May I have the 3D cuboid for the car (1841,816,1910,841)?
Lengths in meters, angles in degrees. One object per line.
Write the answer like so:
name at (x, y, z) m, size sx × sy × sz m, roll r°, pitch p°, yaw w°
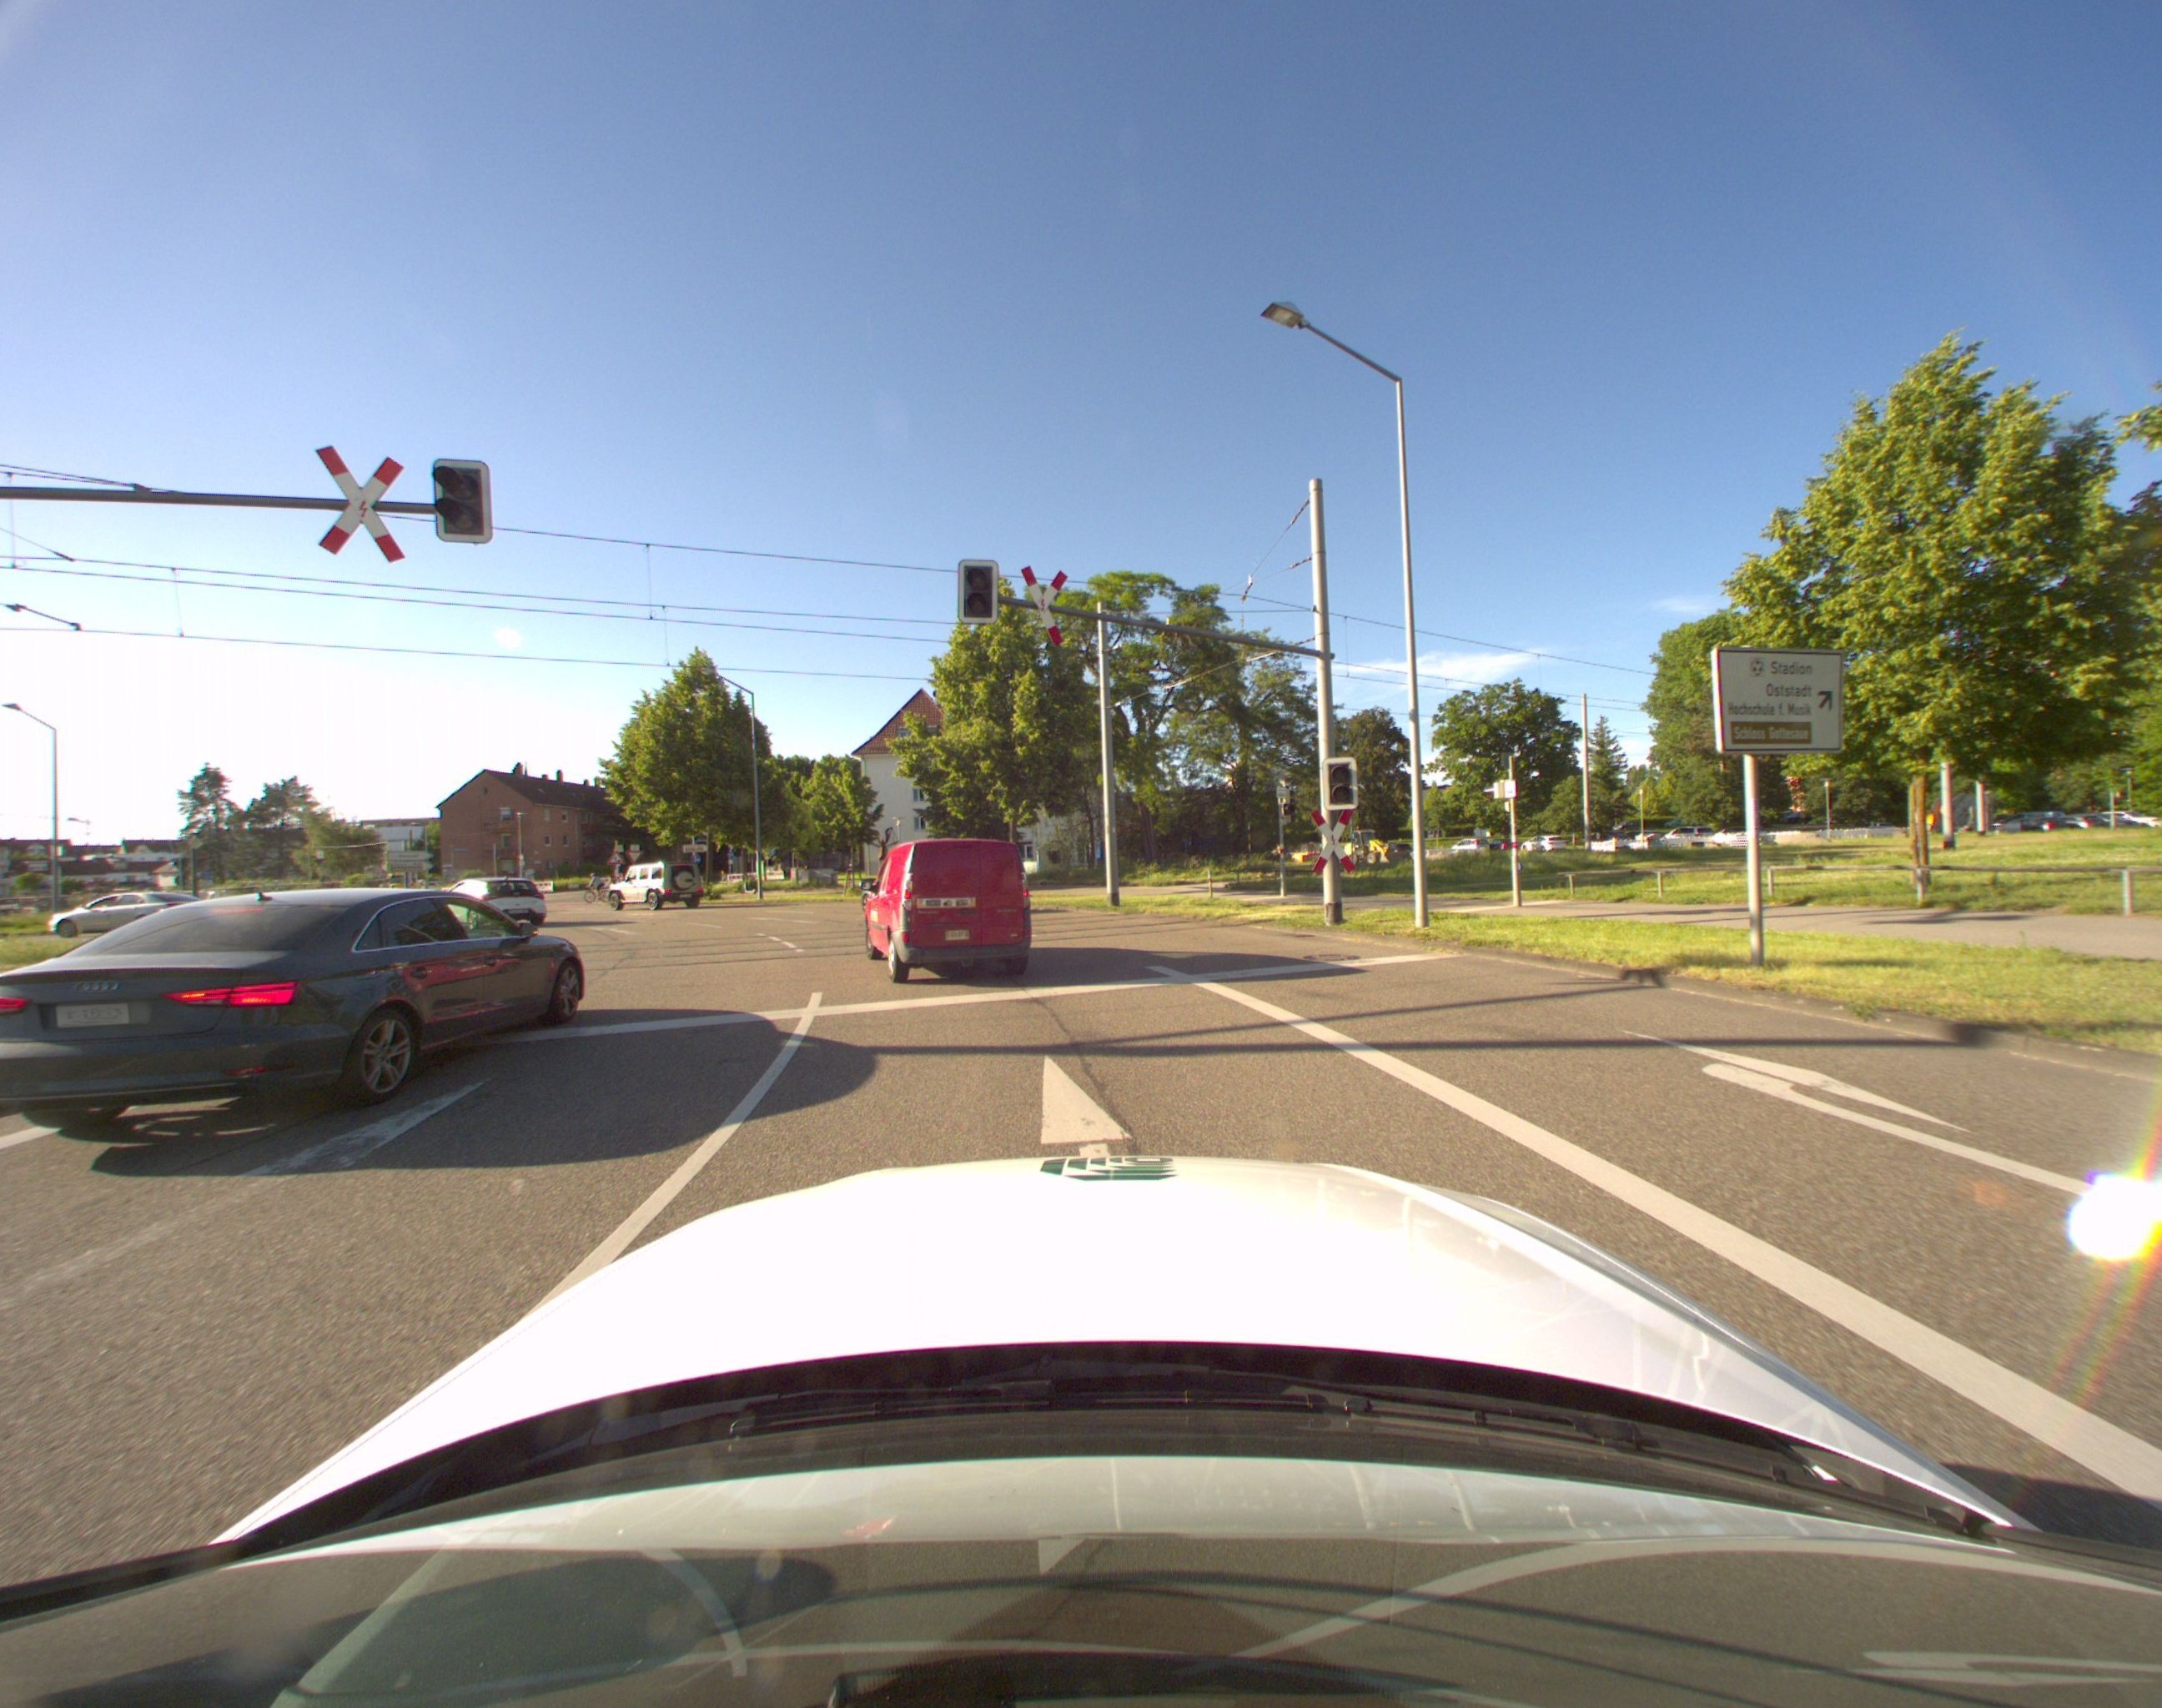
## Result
car at (69.589, -2.246, 71.413) m, size 1.990 × 1.896 × 3.993 m, roll -2°, pitch -2°, yaw -4°

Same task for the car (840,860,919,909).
car at (-6.646, 0.979, 26.608) m, size 1.722 × 1.436 × 4.117 m, roll -2°, pitch -1°, yaw -25°

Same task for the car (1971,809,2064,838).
car at (68.516, -2.206, 59.671) m, size 1.990 × 1.756 × 3.993 m, roll -2°, pitch -2°, yaw -4°

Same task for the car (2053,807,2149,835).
car at (74.656, -2.394, 59.699) m, size 1.905 × 1.756 × 3.993 m, roll -2°, pitch -2°, yaw -4°

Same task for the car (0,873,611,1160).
car at (-5.621, 0.908, 6.458) m, size 1.759 × 1.380 × 4.346 m, roll 1°, pitch 0°, yaw -8°

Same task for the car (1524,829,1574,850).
car at (39.423, -1.223, 68.704) m, size 1.823 × 1.556 × 3.803 m, roll -2°, pitch -2°, yaw -2°

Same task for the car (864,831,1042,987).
car at (-1.984, 0.646, 11.603) m, size 1.809 × 1.813 × 3.784 m, roll -1°, pitch 0°, yaw -20°

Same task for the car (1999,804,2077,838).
car at (84.717, -2.911, 72.179) m, size 1.990 × 2.653 × 3.993 m, roll -2°, pitch -2°, yaw -4°

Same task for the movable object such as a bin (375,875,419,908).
movable object such as a bin at (-60.007, 3.276, 71.422) m, size 3.949 × 2.773 × 2.442 m, roll -3°, pitch -2°, yaw 42°

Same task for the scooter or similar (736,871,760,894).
scooter or similar at (-19.146, 1.619, 46.882) m, size 1.250 × 1.248 × 0.447 m, roll -3°, pitch -2°, yaw 18°

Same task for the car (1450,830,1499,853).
car at (33.164, -1.037, 68.796) m, size 1.990 × 1.723 × 3.993 m, roll -2°, pitch -2°, yaw -4°

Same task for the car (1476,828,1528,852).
car at (35.346, -1.129, 68.492) m, size 1.990 × 1.769 × 3.993 m, roll -2°, pitch -2°, yaw -4°

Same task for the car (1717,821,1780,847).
car at (57.669, -1.724, 70.427) m, size 1.990 × 1.959 × 3.993 m, roll -2°, pitch -2°, yaw -4°

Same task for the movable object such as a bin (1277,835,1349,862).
movable object such as a bin at (18.430, -0.435, 64.680) m, size 5.009 × 1.948 × 2.230 m, roll -1°, pitch -2°, yaw -12°

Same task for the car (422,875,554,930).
car at (-17.522, 1.405, 24.047) m, size 3.760 × 1.461 × 1.820 m, roll -2°, pitch -1°, yaw 31°

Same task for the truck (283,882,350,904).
truck at (-76.680, 3.888, 81.675) m, size 6.362 × 2.014 × 2.181 m, roll -2°, pitch -2°, yaw 19°

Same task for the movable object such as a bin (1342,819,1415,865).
movable object such as a bin at (19.991, -0.747, 54.991) m, size 1.997 × 2.789 × 5.021 m, roll -1°, pitch -2°, yaw -15°

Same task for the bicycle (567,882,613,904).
bicycle at (-29.401, 2.321, 48.753) m, size 2.193 × 1.266 × 0.885 m, roll -2°, pitch -2°, yaw 3°

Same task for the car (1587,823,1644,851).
car at (45.209, -1.402, 68.979) m, size 1.990 × 2.100 × 3.993 m, roll -2°, pitch -2°, yaw -4°

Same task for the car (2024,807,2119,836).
car at (72.167, -2.325, 59.430) m, size 1.905 × 1.756 × 3.993 m, roll -2°, pitch -2°, yaw -4°

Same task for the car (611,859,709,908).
car at (-17.900, 1.276, 34.531) m, size 4.691 × 1.897 × 2.016 m, roll -3°, pitch -1°, yaw 41°

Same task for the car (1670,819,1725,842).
car at (52.843, -1.985, 69.853) m, size 1.684 × 1.779 × 3.845 m, roll -2°, pitch -2°, yaw -1°

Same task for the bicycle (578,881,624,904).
bicycle at (-27.943, 2.242, 47.434) m, size 2.193 × 1.266 × 0.885 m, roll -2°, pitch -2°, yaw 3°

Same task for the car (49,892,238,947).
car at (-33.336, 2.306, 29.052) m, size 4.378 × 1.575 × 2.000 m, roll -2°, pitch 1°, yaw 1°

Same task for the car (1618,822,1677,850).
car at (48.120, -1.483, 69.290) m, size 1.990 × 2.100 × 3.993 m, roll -2°, pitch -2°, yaw -4°

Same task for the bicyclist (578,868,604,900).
bicyclist at (-29.328, 1.791, 48.761) m, size 1.018 × 1.852 × 0.885 m, roll -2°, pitch -2°, yaw 3°

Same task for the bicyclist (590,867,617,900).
bicyclist at (-27.787, 1.710, 47.438) m, size 1.018 × 1.852 × 0.885 m, roll -2°, pitch -2°, yaw 3°
